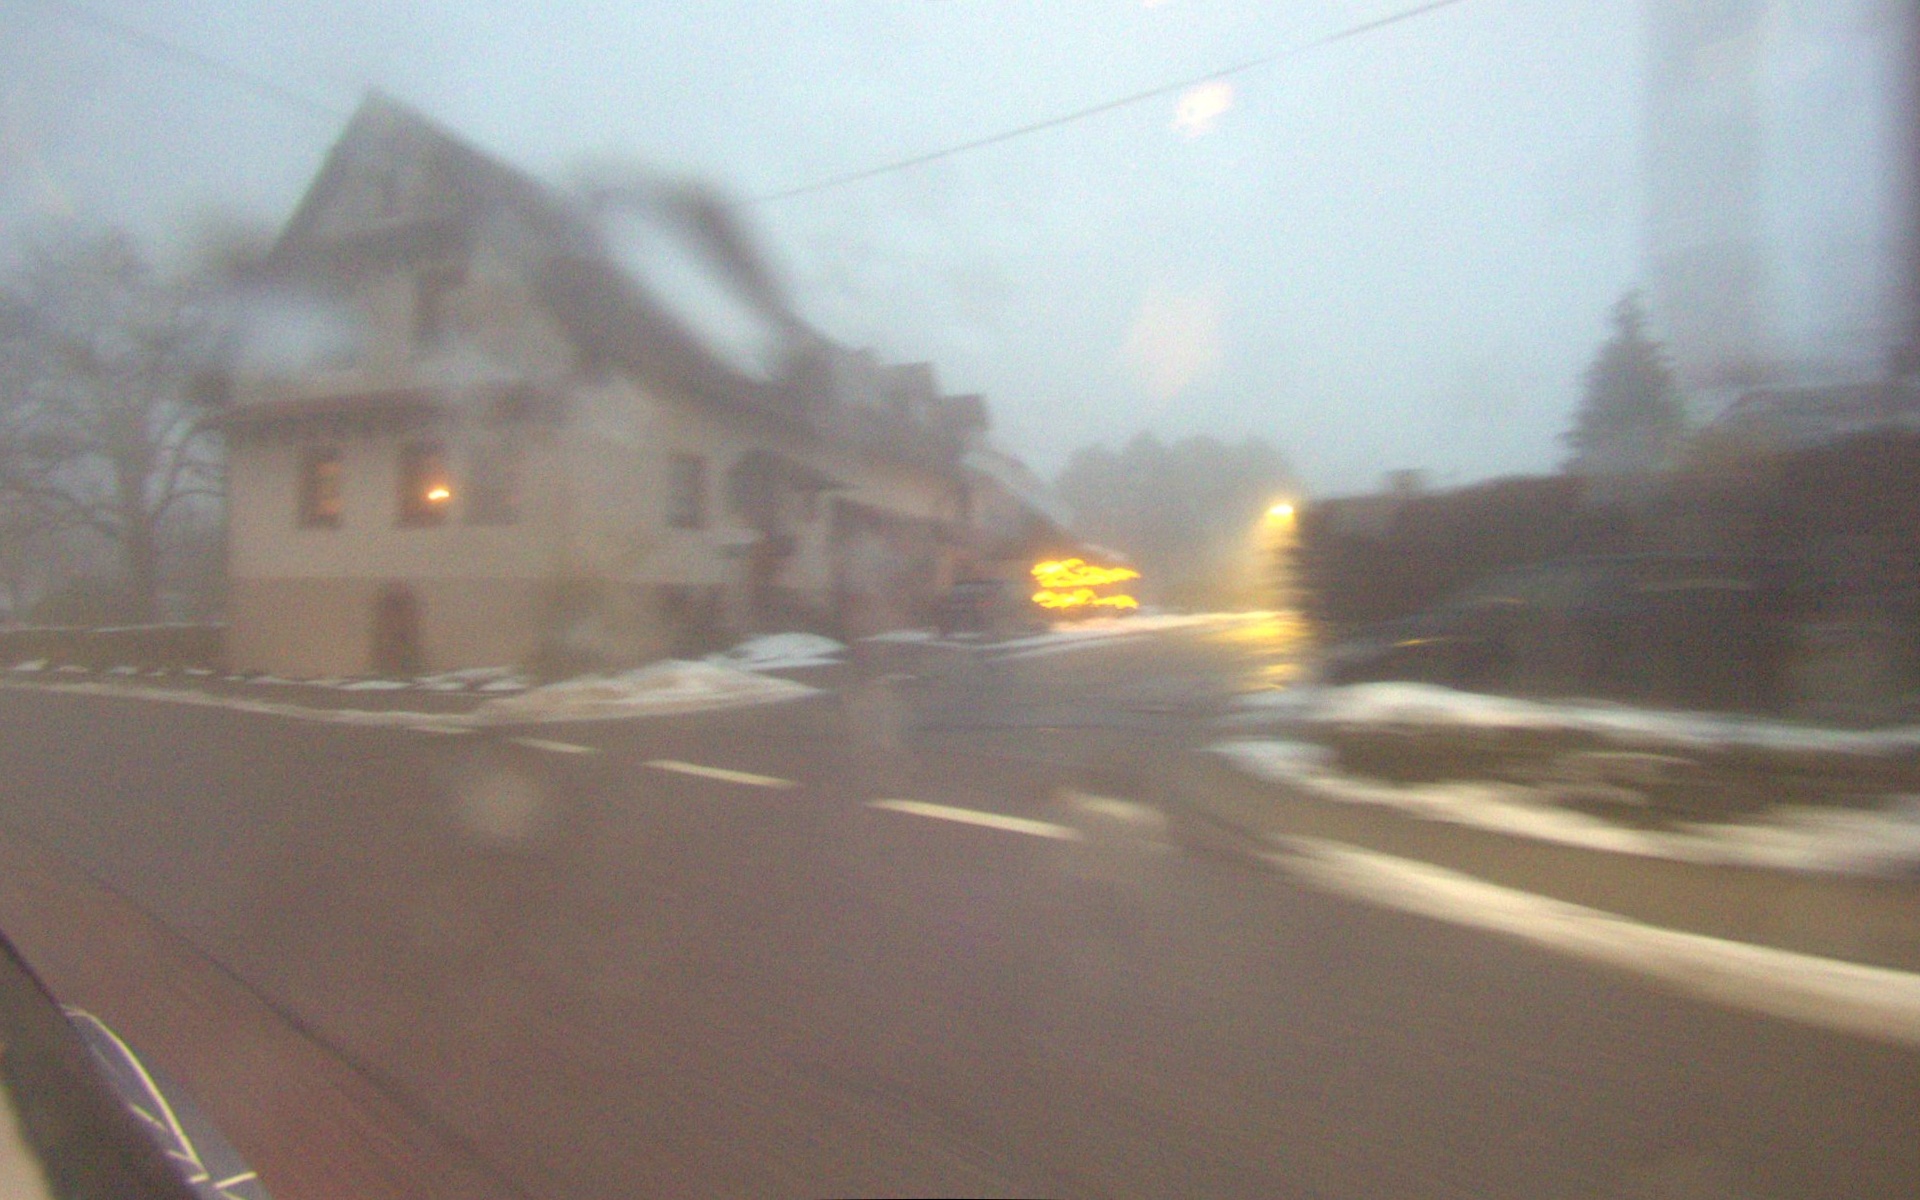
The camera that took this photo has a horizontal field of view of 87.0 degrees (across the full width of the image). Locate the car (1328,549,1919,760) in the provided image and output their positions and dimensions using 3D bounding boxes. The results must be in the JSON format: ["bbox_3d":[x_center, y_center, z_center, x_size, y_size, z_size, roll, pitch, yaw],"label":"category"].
[{"bbox_3d":[5.354,0.368,8.843,3.969,1.515,1.868,0,1,20],"label":"car"}]

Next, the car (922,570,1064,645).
[{"bbox_3d":[0.853,0.115,23.065,1.987,1.541,3.971,0,1,22],"label":"car"}]
